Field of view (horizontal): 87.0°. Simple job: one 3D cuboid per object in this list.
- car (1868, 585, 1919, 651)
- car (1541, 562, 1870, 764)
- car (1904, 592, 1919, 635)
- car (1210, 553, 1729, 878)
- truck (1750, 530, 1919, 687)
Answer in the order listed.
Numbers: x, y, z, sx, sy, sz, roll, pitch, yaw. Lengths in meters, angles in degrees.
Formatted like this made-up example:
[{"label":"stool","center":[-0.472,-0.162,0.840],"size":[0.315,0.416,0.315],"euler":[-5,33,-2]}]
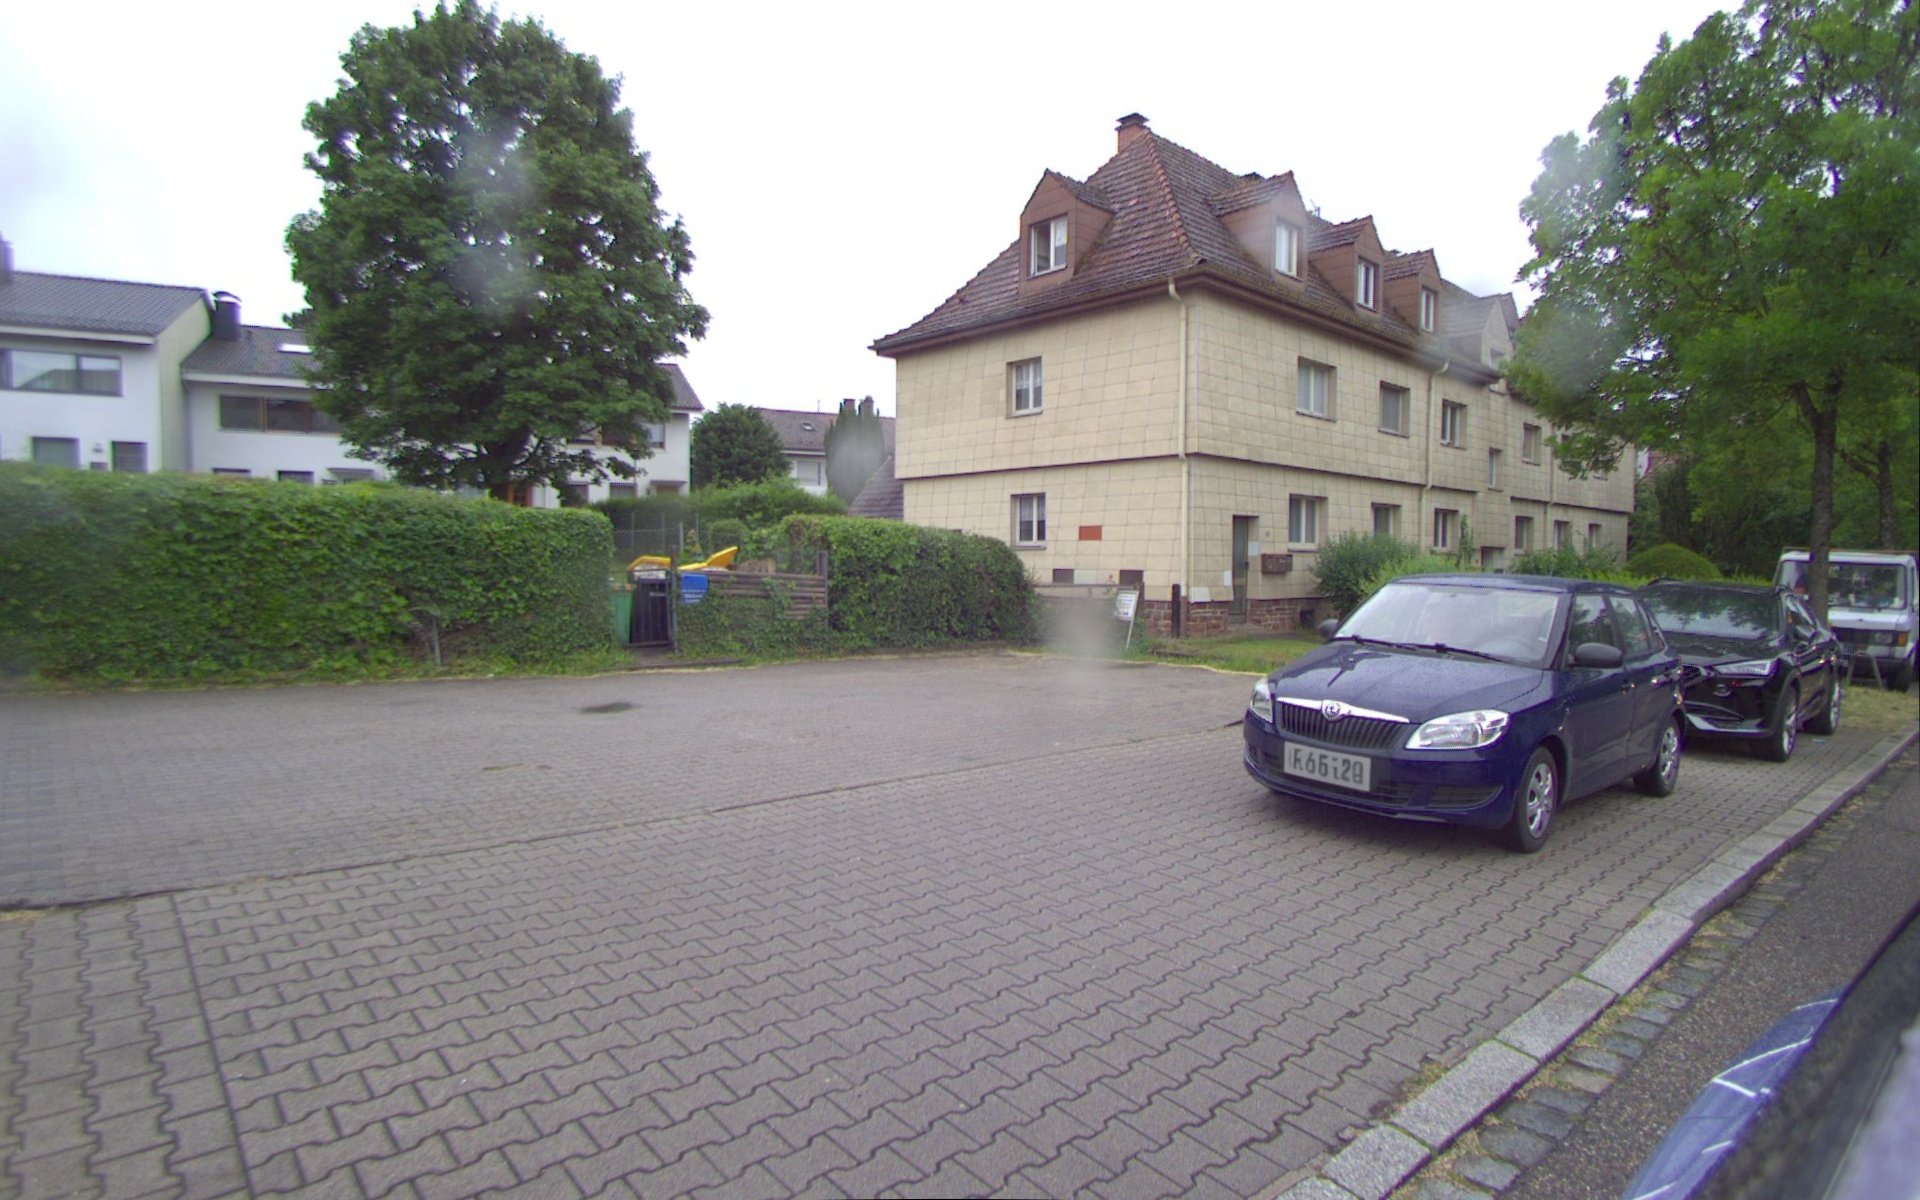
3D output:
[{"label":"car","center":[23.944,0.529,25.077],"size":[3.951,1.454,1.605],"euler":[4,2,-42]},{"label":"car","center":[7.479,0.476,9.998],"size":[4.111,1.516,1.718],"euler":[0,4,-42]},{"label":"car","center":[33.608,0.500,34.517],"size":[4.424,1.406,1.691],"euler":[0,4,-43]},{"label":"car","center":[3.456,0.520,6.569],"size":[3.788,1.490,1.608],"euler":[0,3,-40]},{"label":"truck","center":[15.854,0.078,17.708],"size":[6.392,2.248,2.084],"euler":[0,4,-43]}]
